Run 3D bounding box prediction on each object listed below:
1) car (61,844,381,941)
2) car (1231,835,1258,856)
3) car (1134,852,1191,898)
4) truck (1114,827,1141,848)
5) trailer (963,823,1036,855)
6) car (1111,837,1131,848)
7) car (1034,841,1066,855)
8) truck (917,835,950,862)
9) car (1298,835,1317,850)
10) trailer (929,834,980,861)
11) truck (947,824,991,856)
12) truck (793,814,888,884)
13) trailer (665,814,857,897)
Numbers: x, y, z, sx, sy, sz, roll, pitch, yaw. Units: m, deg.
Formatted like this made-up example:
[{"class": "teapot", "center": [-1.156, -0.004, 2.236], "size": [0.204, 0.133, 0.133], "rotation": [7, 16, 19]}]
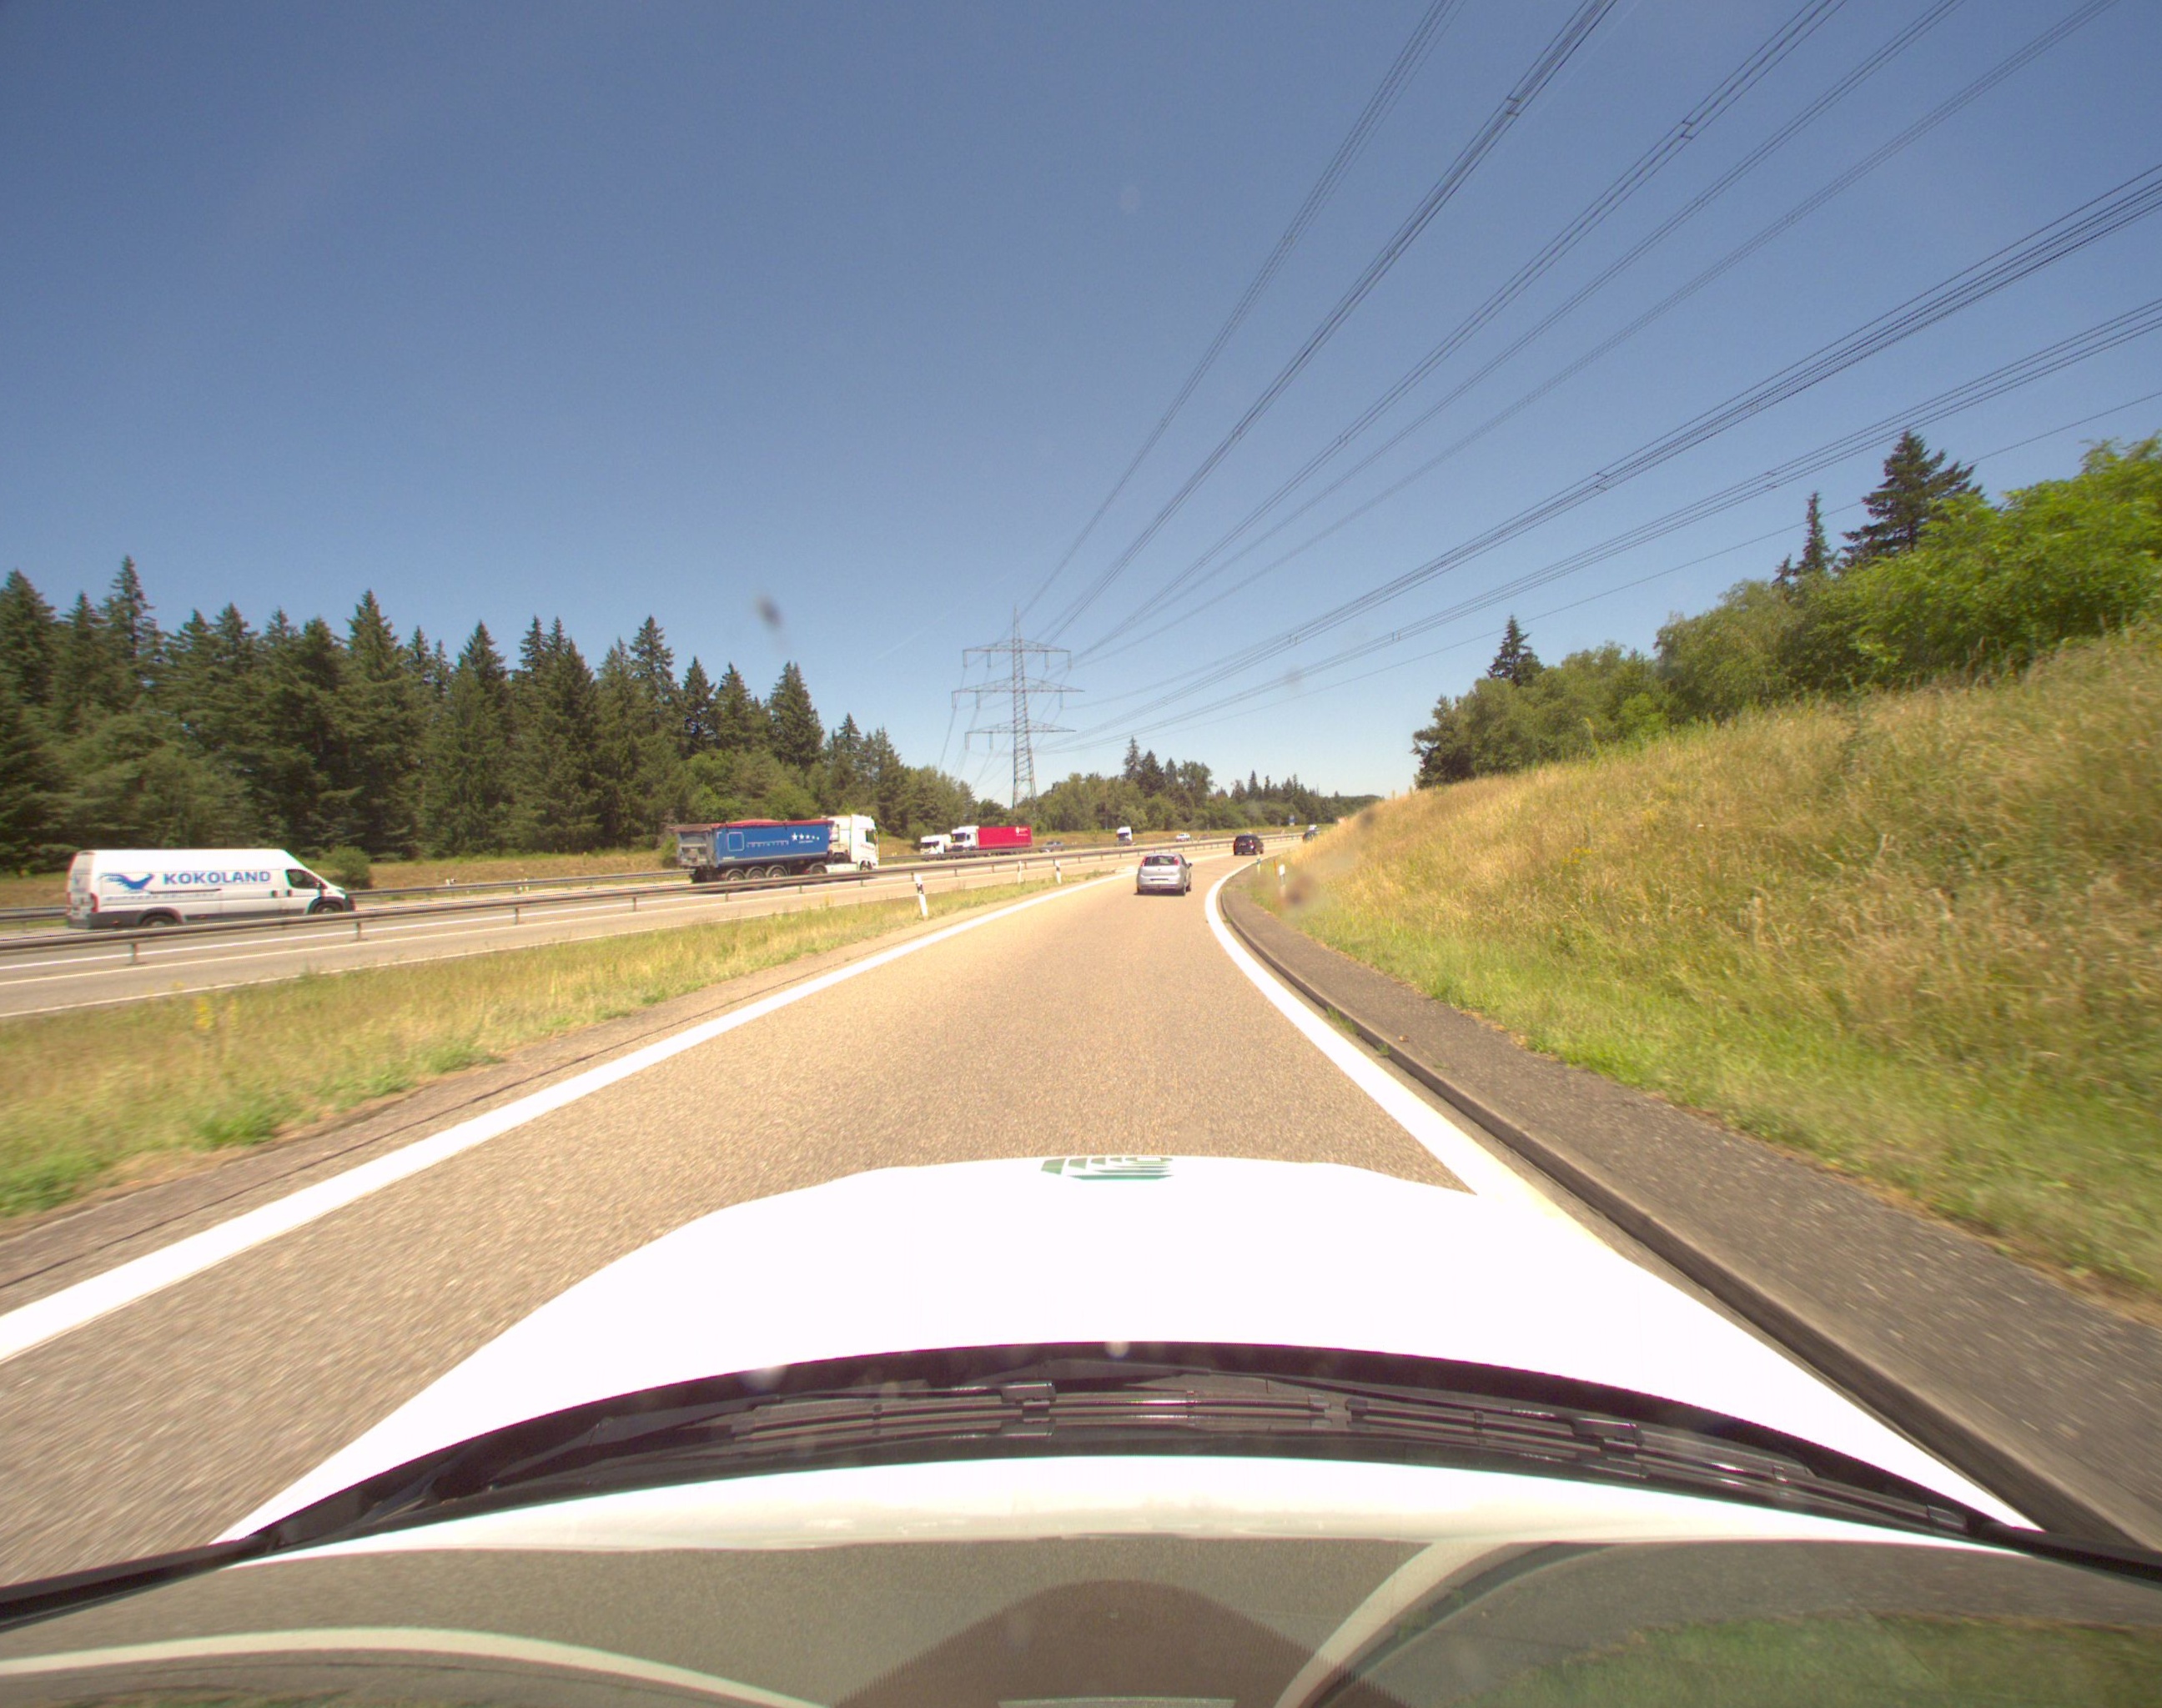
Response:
[{"class": "car", "center": [-28.790, 1.135, 27.757], "size": [2.218, 2.832, 7.096], "rotation": [-2, 0, 26]}, {"class": "car", "center": [14.052, -0.751, 69.789], "size": [1.692, 1.676, 3.415], "rotation": [-2, 0, 20]}, {"class": "car", "center": [2.952, 0.685, 28.948], "size": [1.695, 1.481, 3.408], "rotation": [0, 1, 11]}, {"class": "truck", "center": [10.135, -3.628, 176.815], "size": [2.833, 4.345, 7.577], "rotation": [-2, 0, 28]}, {"class": "trailer", "center": [-10.812, -2.165, 110.123], "size": [2.518, 3.796, 13.827], "rotation": [-2, 2, 27]}, {"class": "car", "center": [6.755, -1.917, 136.464], "size": [1.755, 1.684, 3.713], "rotation": [-2, 0, 29]}, {"class": "car", "center": [-4.034, -0.822, 106.441], "size": [1.755, 1.684, 4.855], "rotation": [-2, 0, 29]}, {"class": "truck", "center": [-21.907, -0.787, 121.331], "size": [2.741, 3.796, 4.025], "rotation": [-2, 2, 27]}, {"class": "car", "center": [29.341, -1.534, 105.435], "size": [1.866, 1.683, 4.020], "rotation": [-5, 0, 19]}, {"class": "trailer", "center": [-19.461, -1.070, 126.068], "size": [2.746, 3.797, 8.992], "rotation": [-2, 2, 27]}, {"class": "truck", "center": [-14.152, -1.775, 103.660], "size": [2.518, 3.796, 5.704], "rotation": [-2, 2, 27]}, {"class": "truck", "center": [-13.917, -0.369, 47.427], "size": [2.731, 3.806, 4.650], "rotation": [-1, 2, 26]}, {"class": "trailer", "center": [-16.271, -0.117, 42.598], "size": [2.745, 3.806, 9.945], "rotation": [-2, 2, 26]}]
